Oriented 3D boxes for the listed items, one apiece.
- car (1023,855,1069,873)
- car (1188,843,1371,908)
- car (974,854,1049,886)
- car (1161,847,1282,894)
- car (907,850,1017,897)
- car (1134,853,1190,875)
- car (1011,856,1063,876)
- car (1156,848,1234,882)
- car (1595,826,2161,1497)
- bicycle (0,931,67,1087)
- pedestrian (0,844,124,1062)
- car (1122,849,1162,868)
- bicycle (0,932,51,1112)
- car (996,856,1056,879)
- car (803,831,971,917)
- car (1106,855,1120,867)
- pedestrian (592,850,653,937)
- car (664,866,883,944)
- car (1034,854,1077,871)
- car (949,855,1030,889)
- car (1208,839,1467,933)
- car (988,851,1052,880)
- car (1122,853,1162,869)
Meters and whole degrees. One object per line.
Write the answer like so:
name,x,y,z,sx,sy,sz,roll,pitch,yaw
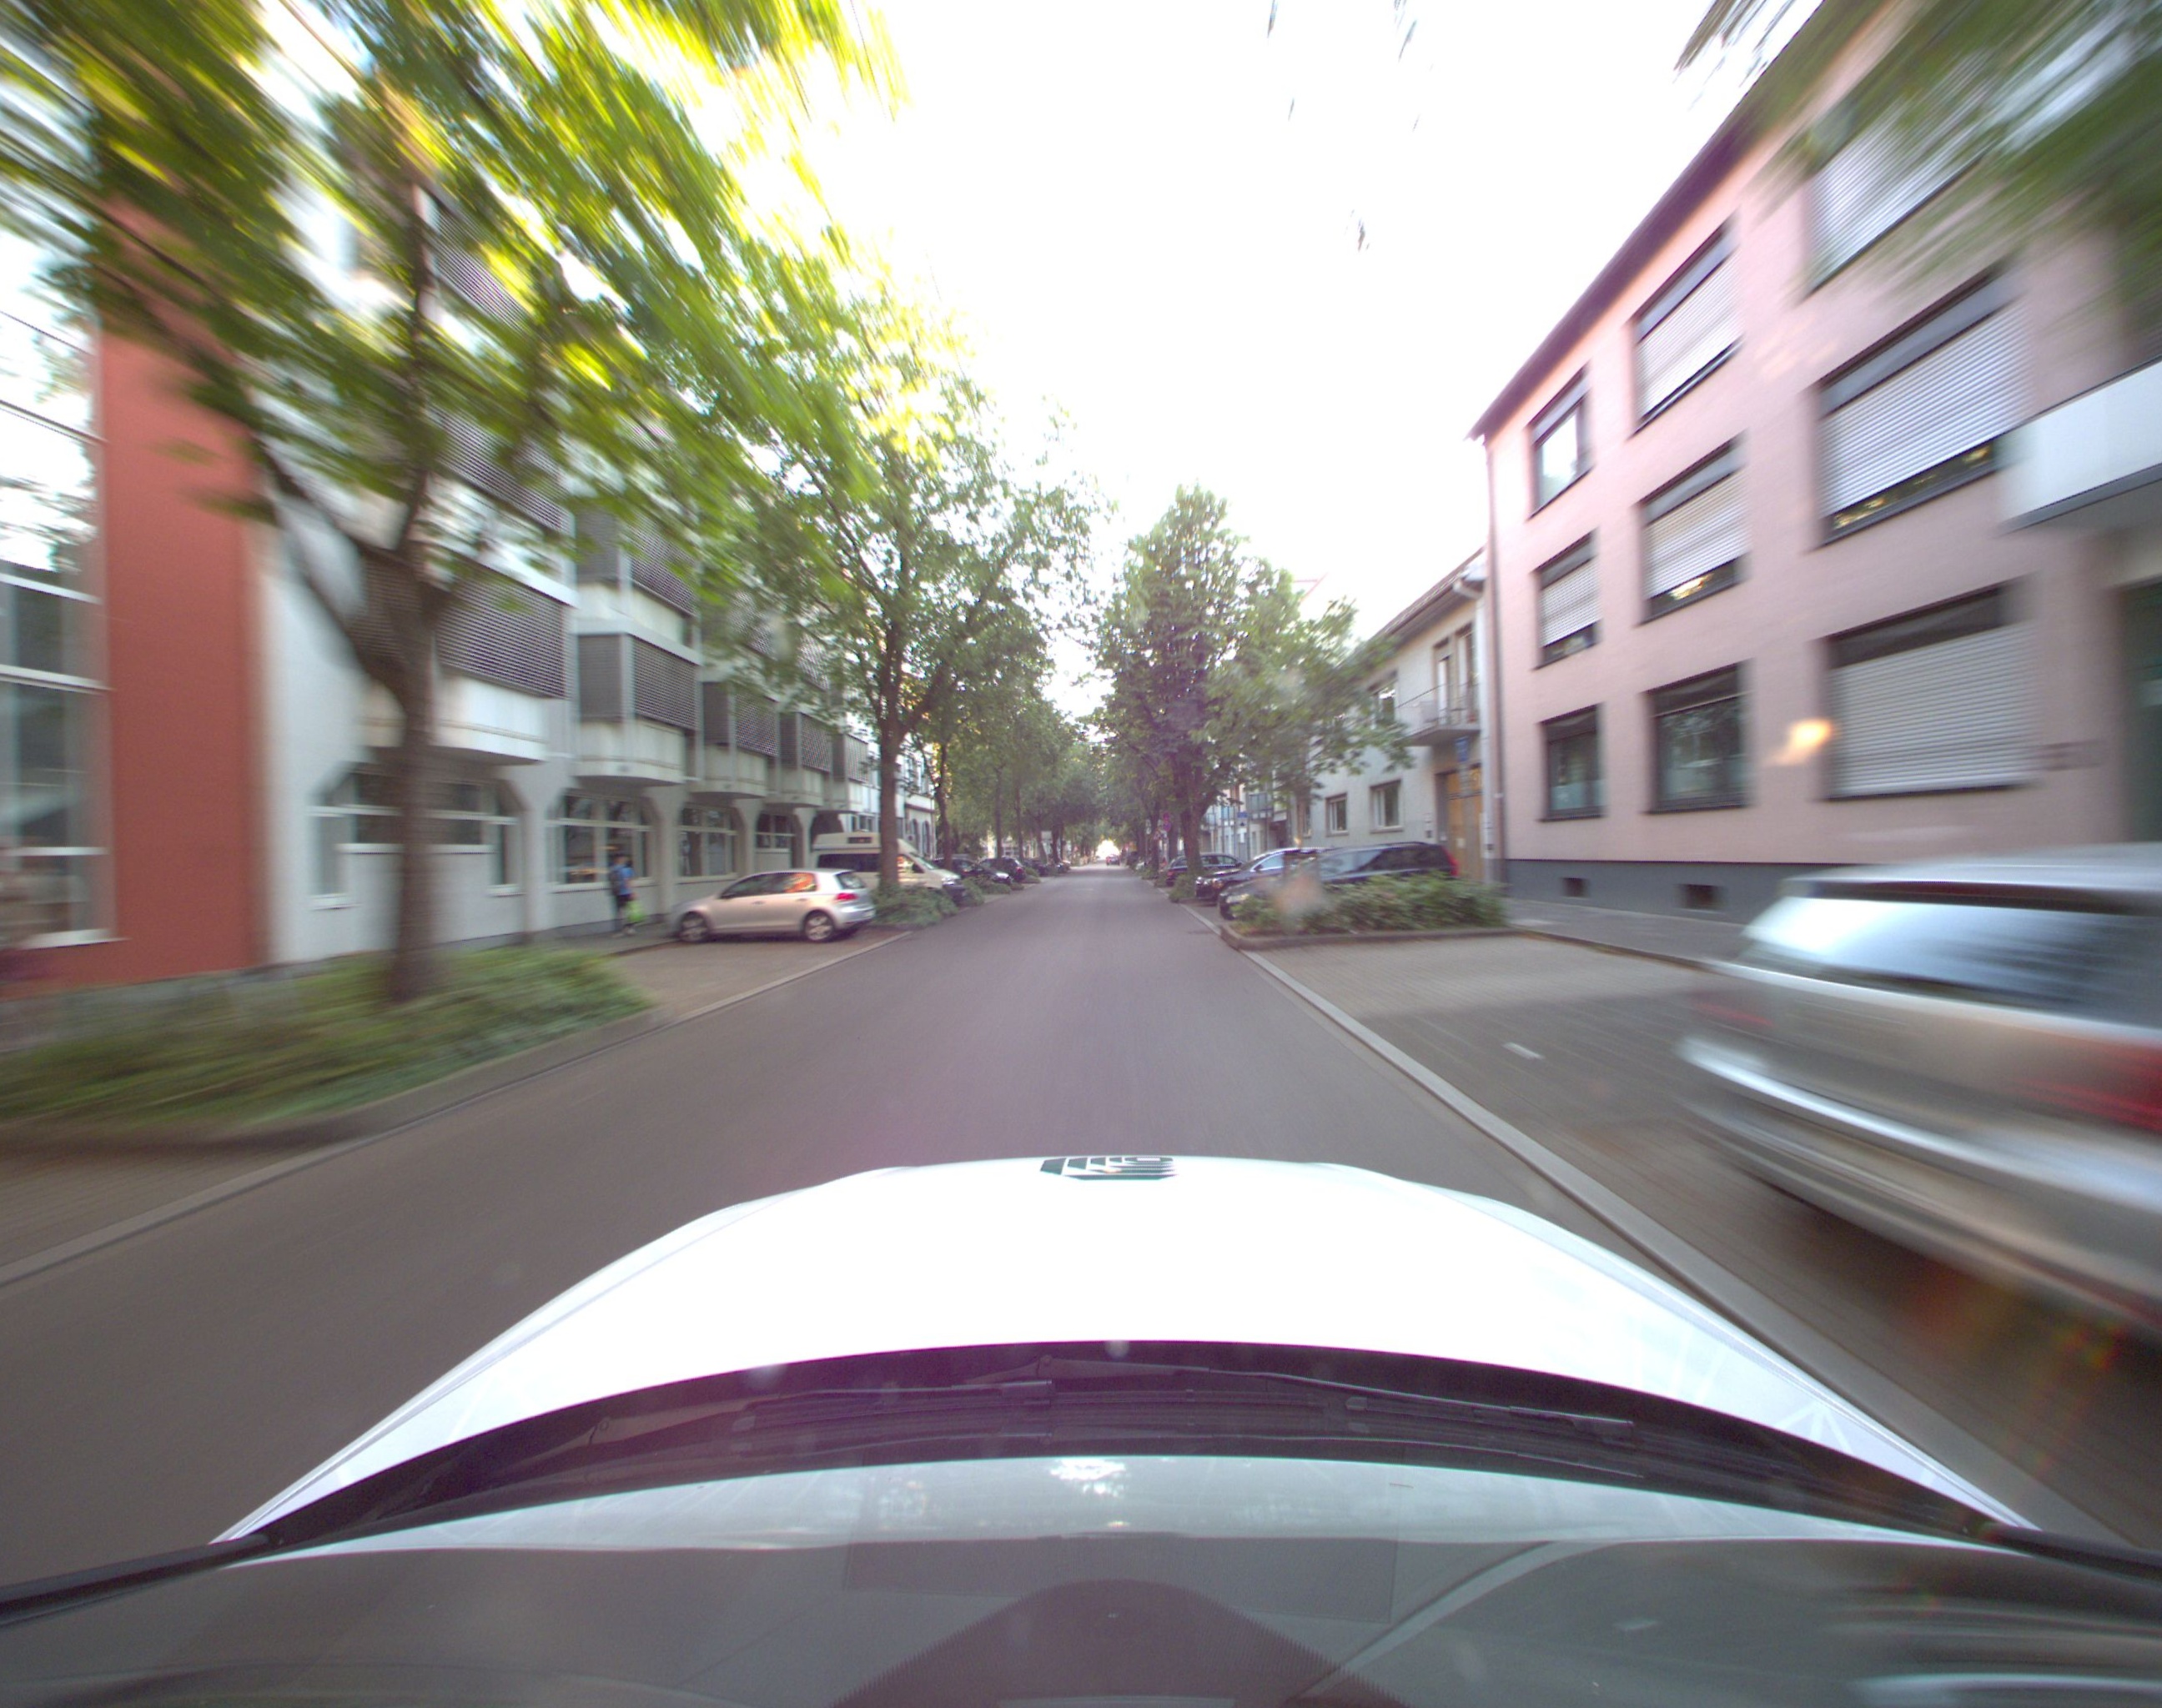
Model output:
car,-3.735,1.045,88.069,4.744,1.630,1.964,-3,0,1
car,5.507,0.580,23.059,4.665,1.521,1.964,-3,0,1
car,-4.512,1.012,53.201,4.578,1.807,1.964,-3,0,1
car,5.429,0.631,31.979,4.486,1.521,1.998,-3,0,5
car,-5.462,0.874,37.796,4.665,1.854,1.964,-3,0,1
car,6.440,0.796,65.108,4.252,1.565,1.964,-3,0,1
car,-4.139,1.107,77.439,4.744,1.630,1.964,-3,0,1
car,6.270,0.606,45.079,4.035,1.597,1.826,-3,0,1
car,4.302,0.634,2.828,3.866,1.439,1.847,-3,0,-2
bicycle,-8.415,1.135,6.153,1.778,1.029,0.503,-1,0,24
pedestrian,-8.887,0.802,6.961,0.697,1.757,0.744,-1,-1,25
car,6.774,0.494,90.932,4.252,1.962,1.964,-3,0,1
bicycle,-7.768,1.096,4.979,1.801,1.107,0.496,-1,0,-22
car,-4.620,1.110,68.989,4.744,1.630,1.964,-3,0,1
car,-5.937,0.594,25.339,4.665,2.478,2.001,-1,0,1
car,4.520,1.000,115.214,1.949,1.565,4.284,-3,0,2
pedestrian,-9.445,0.793,16.805,0.700,1.728,0.905,-1,0,2
car,-6.321,1.025,17.016,3.854,1.486,1.759,-1,0,3
car,-2.866,0.979,93.096,4.744,1.630,1.964,-3,0,1
car,-5.057,1.010,45.515,4.187,1.635,1.964,-3,0,1
car,5.040,0.607,16.546,4.697,1.710,1.952,-1,1,3
car,-4.818,0.889,64.671,4.744,1.984,1.964,-3,0,1
car,6.604,0.747,88.266,4.252,1.565,1.964,-3,0,1
